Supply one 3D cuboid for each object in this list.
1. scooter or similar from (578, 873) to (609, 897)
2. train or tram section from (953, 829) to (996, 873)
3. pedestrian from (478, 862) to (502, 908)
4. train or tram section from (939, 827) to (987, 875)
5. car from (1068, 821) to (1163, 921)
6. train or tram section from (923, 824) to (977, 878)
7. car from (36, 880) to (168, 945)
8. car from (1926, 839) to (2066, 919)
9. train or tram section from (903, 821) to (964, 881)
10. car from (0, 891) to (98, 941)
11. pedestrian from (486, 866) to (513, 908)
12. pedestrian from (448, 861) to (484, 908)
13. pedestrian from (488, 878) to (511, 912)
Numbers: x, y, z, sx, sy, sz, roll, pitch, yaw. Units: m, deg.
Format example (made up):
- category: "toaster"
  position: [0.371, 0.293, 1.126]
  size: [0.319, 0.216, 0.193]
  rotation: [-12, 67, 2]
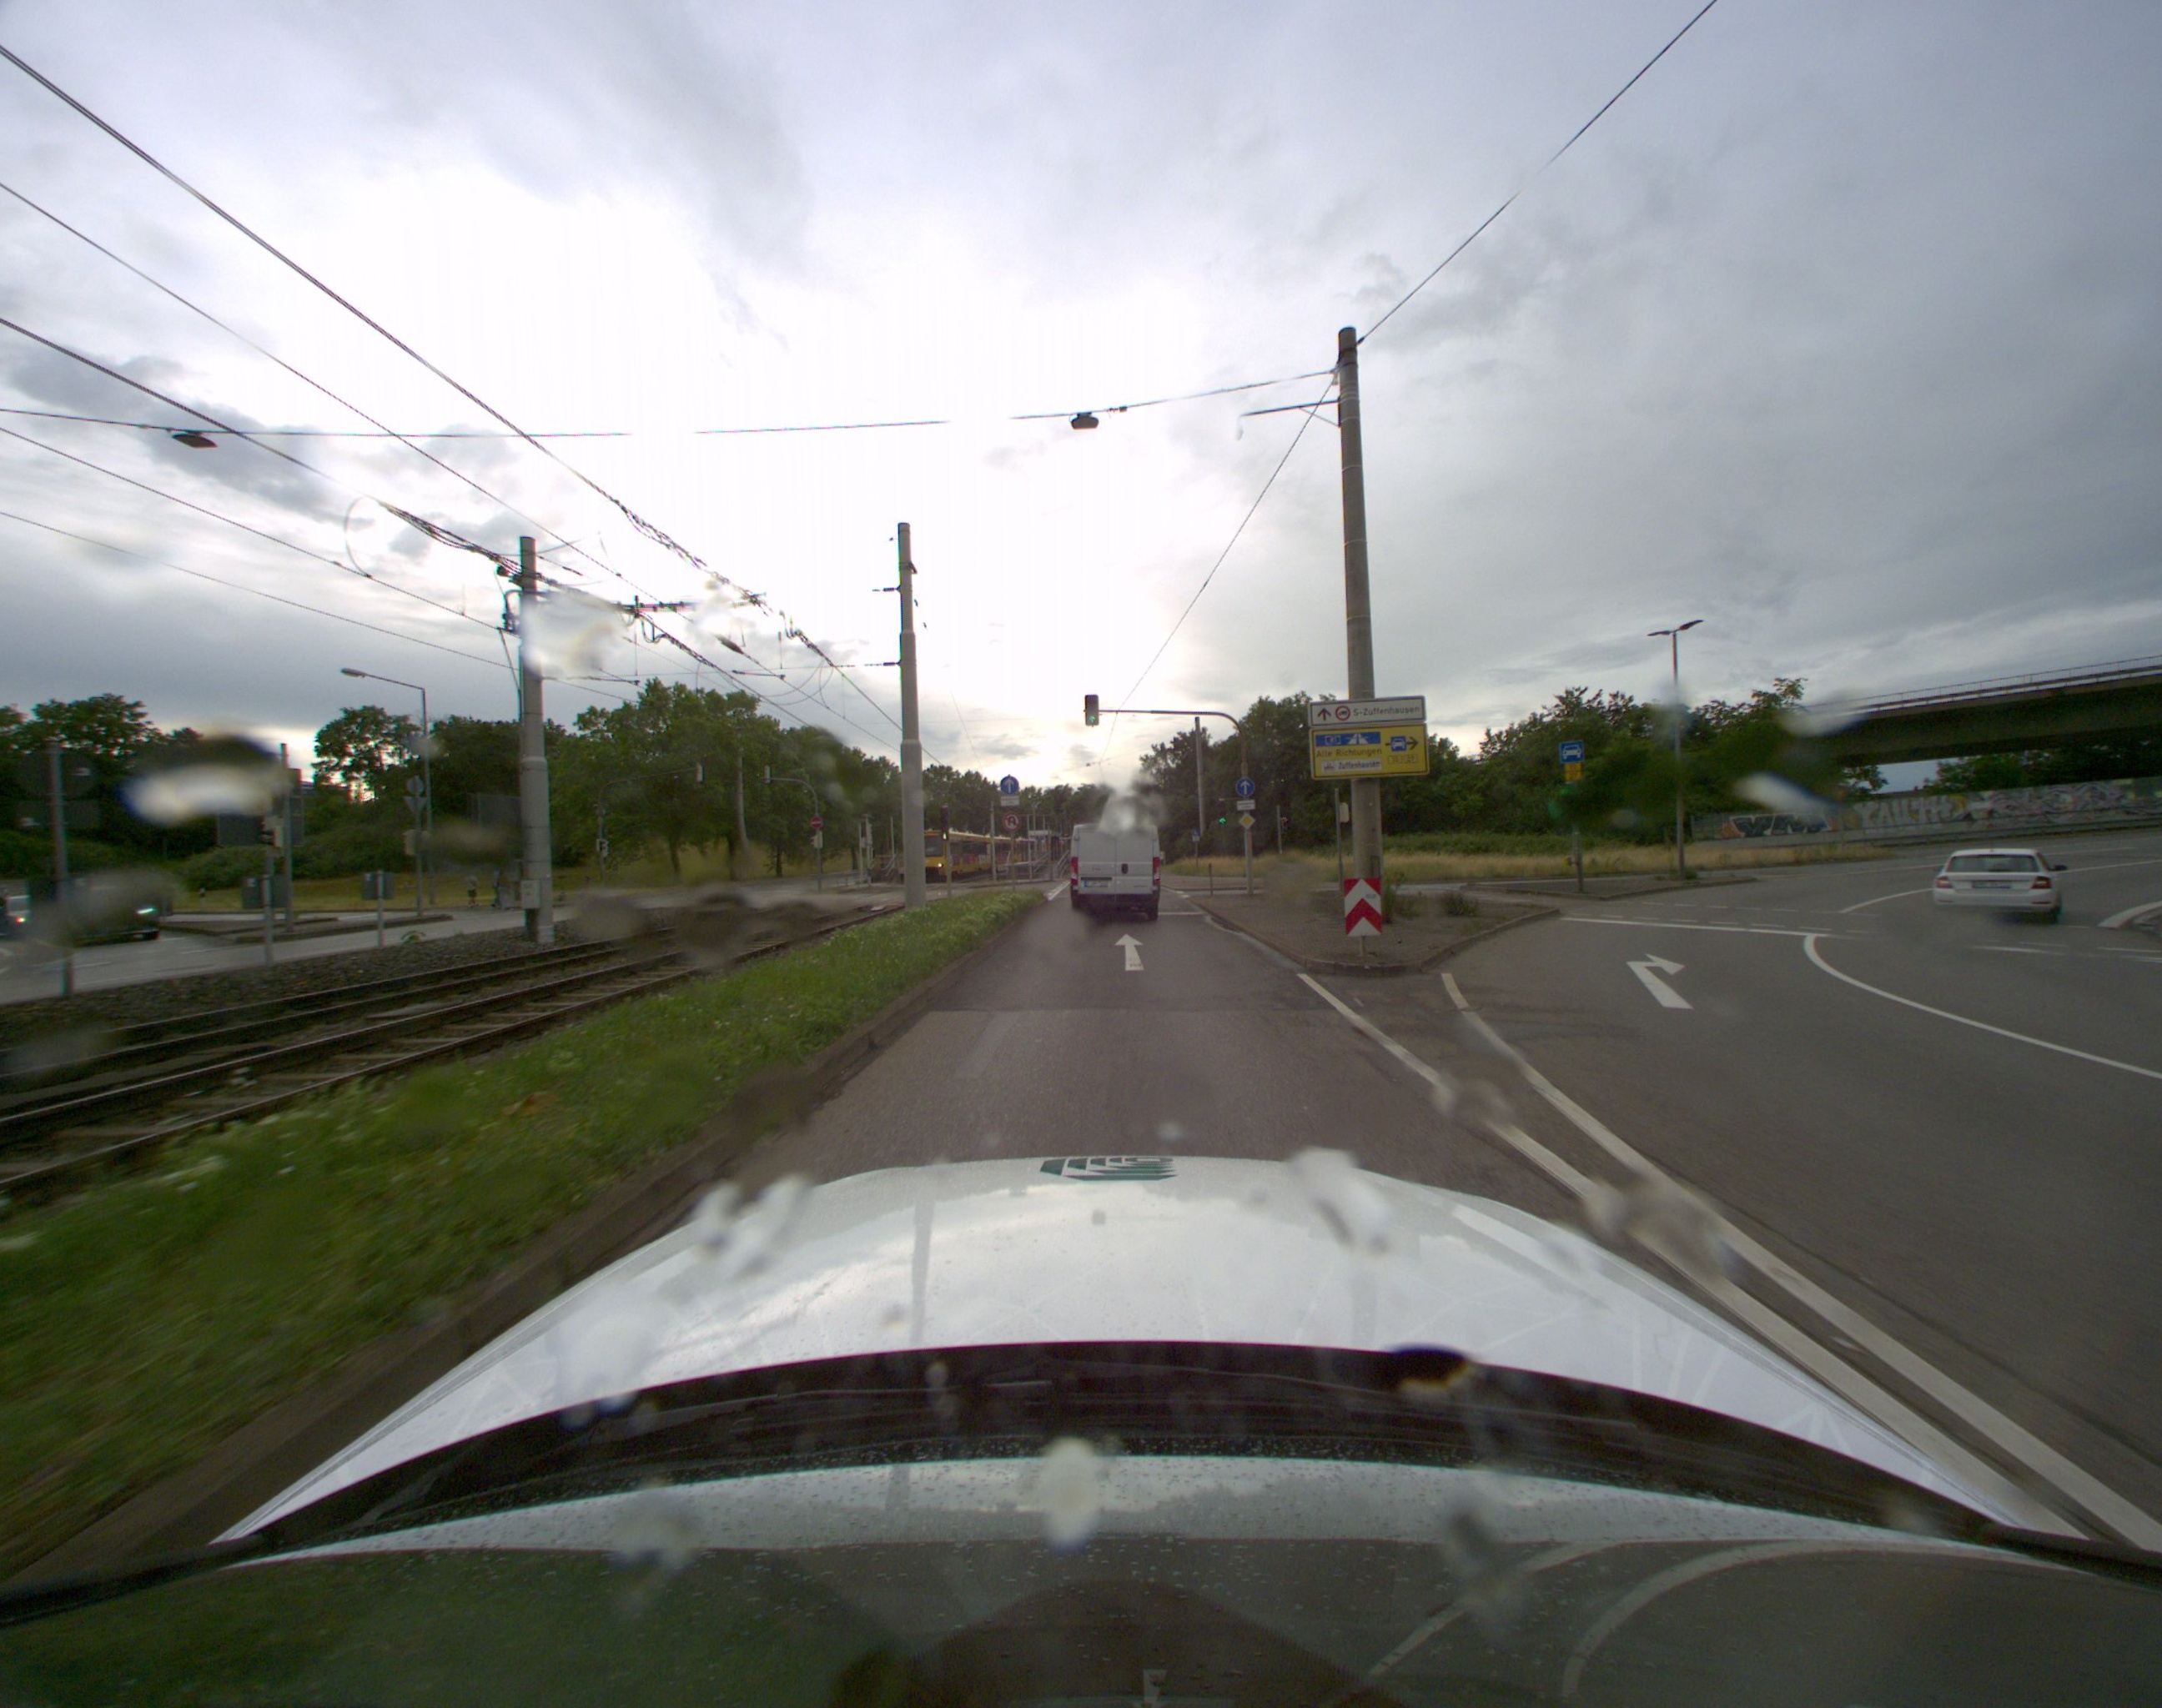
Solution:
- category: "scooter or similar"
  position: [-25.618, 1.623, 42.815]
  size: [0.375, 1.161, 1.288]
  rotation: [-2, 1, 44]
- category: "train or tram section"
  position: [-9.852, -0.247, 75.954]
  size: [2.918, 3.933, 7.007]
  rotation: [0, 0, 1]
- category: "pedestrian"
  position: [-25.378, 1.307, 34.984]
  size: [0.493, 1.955, 0.722]
  rotation: [0, 0, 3]
- category: "train or tram section"
  position: [-9.978, -0.236, 69.755]
  size: [2.918, 3.933, 7.007]
  rotation: [0, 0, 1]
- category: "car"
  position: [0.738, 0.346, 20.500]
  size: [2.084, 2.196, 5.059]
  rotation: [0, 1, -1]
- category: "train or tram section"
  position: [-10.108, -0.225, 63.509]
  size: [2.918, 3.933, 7.007]
  rotation: [0, 0, 1]
- category: "car"
  position: [-30.538, 1.746, 25.370]
  size: [4.571, 1.732, 2.013]
  rotation: [-1, 1, 32]
- category: "car"
  position: [19.544, 0.448, 17.366]
  size: [3.688, 1.457, 1.733]
  rotation: [-2, 2, -38]
- category: "train or tram section"
  position: [-10.258, -0.214, 57.401]
  size: [2.918, 3.933, 7.007]
  rotation: [0, 0, 1]
- category: "car"
  position: [-36.910, 2.153, 29.016]
  size: [3.948, 1.565, 1.852]
  rotation: [-1, 0, 32]
- category: "pedestrian"
  position: [-24.843, 1.398, 34.799]
  size: [0.504, 1.787, 0.833]
  rotation: [0, 0, 4]
- category: "pedestrian"
  position: [-27.080, 1.323, 35.873]
  size: [0.886, 2.013, 0.864]
  rotation: [-2, 0, -6]
- category: "pedestrian"
  position: [-26.350, 1.848, 36.906]
  size: [0.494, 1.473, 0.722]
  rotation: [0, 0, 1]
